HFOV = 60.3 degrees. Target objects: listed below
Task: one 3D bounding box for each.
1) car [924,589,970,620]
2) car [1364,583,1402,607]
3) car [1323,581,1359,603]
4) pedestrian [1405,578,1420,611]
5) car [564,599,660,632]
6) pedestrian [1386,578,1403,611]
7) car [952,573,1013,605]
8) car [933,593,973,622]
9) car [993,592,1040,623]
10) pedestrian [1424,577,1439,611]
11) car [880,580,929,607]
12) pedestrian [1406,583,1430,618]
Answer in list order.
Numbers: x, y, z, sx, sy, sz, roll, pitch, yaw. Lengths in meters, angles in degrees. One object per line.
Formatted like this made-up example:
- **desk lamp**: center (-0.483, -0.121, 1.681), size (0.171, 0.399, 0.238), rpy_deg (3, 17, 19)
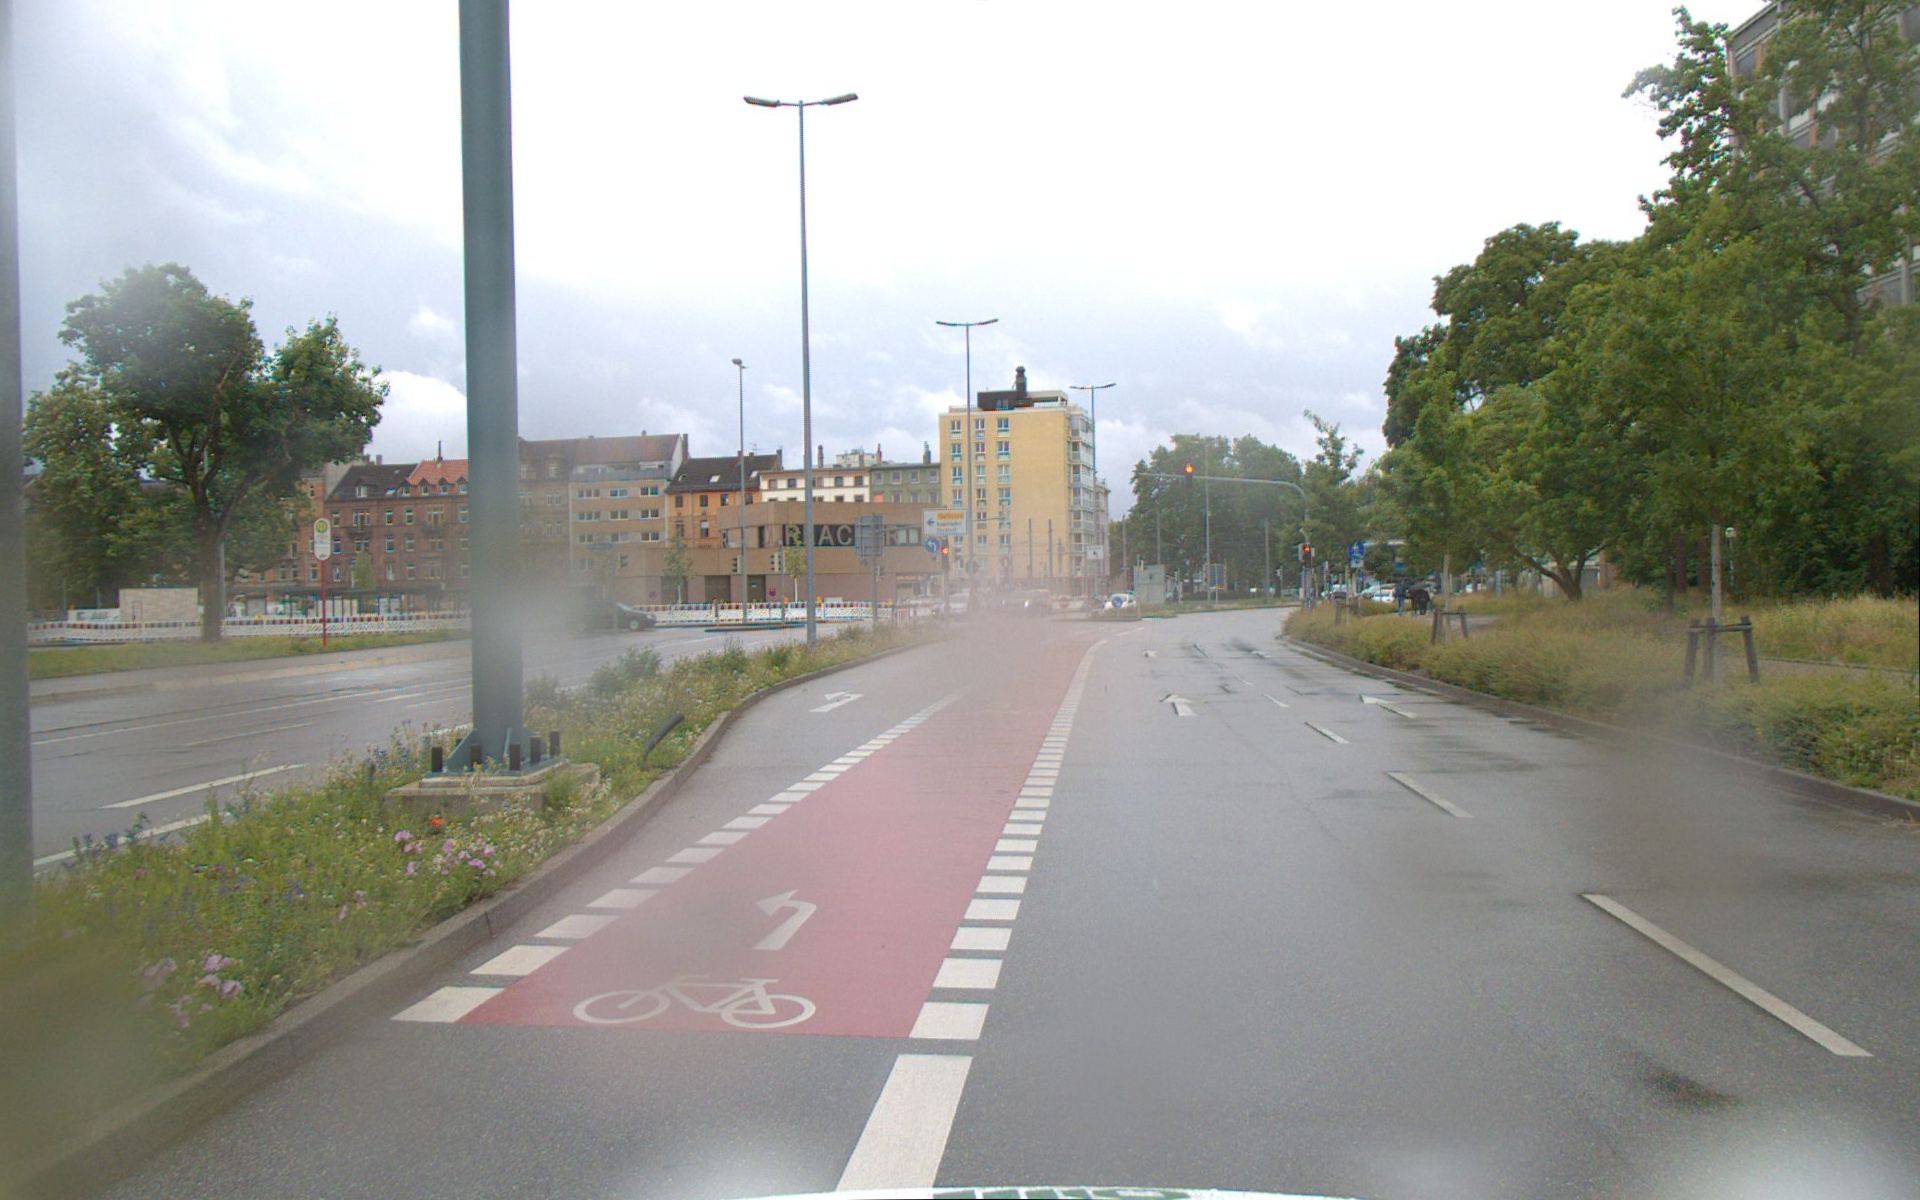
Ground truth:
- **car**: center (-0.750, 0.260, 99.475), size (1.669, 1.735, 3.822), rpy_deg (-1, 0, 18)
- **car**: center (31.523, -0.370, 123.330), size (1.756, 1.672, 4.153), rpy_deg (-1, 0, 29)
- **car**: center (30.411, -0.650, 131.964), size (1.756, 1.672, 4.153), rpy_deg (-1, 0, 29)
- **pedestrian**: center (22.474, -0.276, 82.116), size (0.688, 1.615, 0.937), rpy_deg (-1, 0, 17)
- **car**: center (-16.248, 0.735, 77.357), size (4.105, 1.427, 1.618), rpy_deg (-1, 0, 1)
- **pedestrian**: center (21.726, -0.273, 82.634), size (0.738, 1.615, 0.937), rpy_deg (-1, 0, 17)
- **car**: center (2.574, -1.287, 190.604), size (6.597, 3.439, 2.812), rpy_deg (-2, 0, 10)
- **car**: center (-0.357, 0.396, 88.047), size (1.643, 1.429, 4.161), rpy_deg (-2, 0, 6)
- **car**: center (3.423, 0.429, 99.216), size (1.951, 1.664, 4.607), rpy_deg (-3, 0, 13)
- **pedestrian**: center (23.310, -0.300, 81.774), size (0.688, 1.615, 0.937), rpy_deg (-1, 0, 17)
- **car**: center (-6.431, -0.767, 192.447), size (5.236, 2.937, 2.341), rpy_deg (-2, 0, 10)
- **pedestrian**: center (21.261, 0.011, 76.725), size (1.001, 1.615, 0.937), rpy_deg (-1, 0, 18)
